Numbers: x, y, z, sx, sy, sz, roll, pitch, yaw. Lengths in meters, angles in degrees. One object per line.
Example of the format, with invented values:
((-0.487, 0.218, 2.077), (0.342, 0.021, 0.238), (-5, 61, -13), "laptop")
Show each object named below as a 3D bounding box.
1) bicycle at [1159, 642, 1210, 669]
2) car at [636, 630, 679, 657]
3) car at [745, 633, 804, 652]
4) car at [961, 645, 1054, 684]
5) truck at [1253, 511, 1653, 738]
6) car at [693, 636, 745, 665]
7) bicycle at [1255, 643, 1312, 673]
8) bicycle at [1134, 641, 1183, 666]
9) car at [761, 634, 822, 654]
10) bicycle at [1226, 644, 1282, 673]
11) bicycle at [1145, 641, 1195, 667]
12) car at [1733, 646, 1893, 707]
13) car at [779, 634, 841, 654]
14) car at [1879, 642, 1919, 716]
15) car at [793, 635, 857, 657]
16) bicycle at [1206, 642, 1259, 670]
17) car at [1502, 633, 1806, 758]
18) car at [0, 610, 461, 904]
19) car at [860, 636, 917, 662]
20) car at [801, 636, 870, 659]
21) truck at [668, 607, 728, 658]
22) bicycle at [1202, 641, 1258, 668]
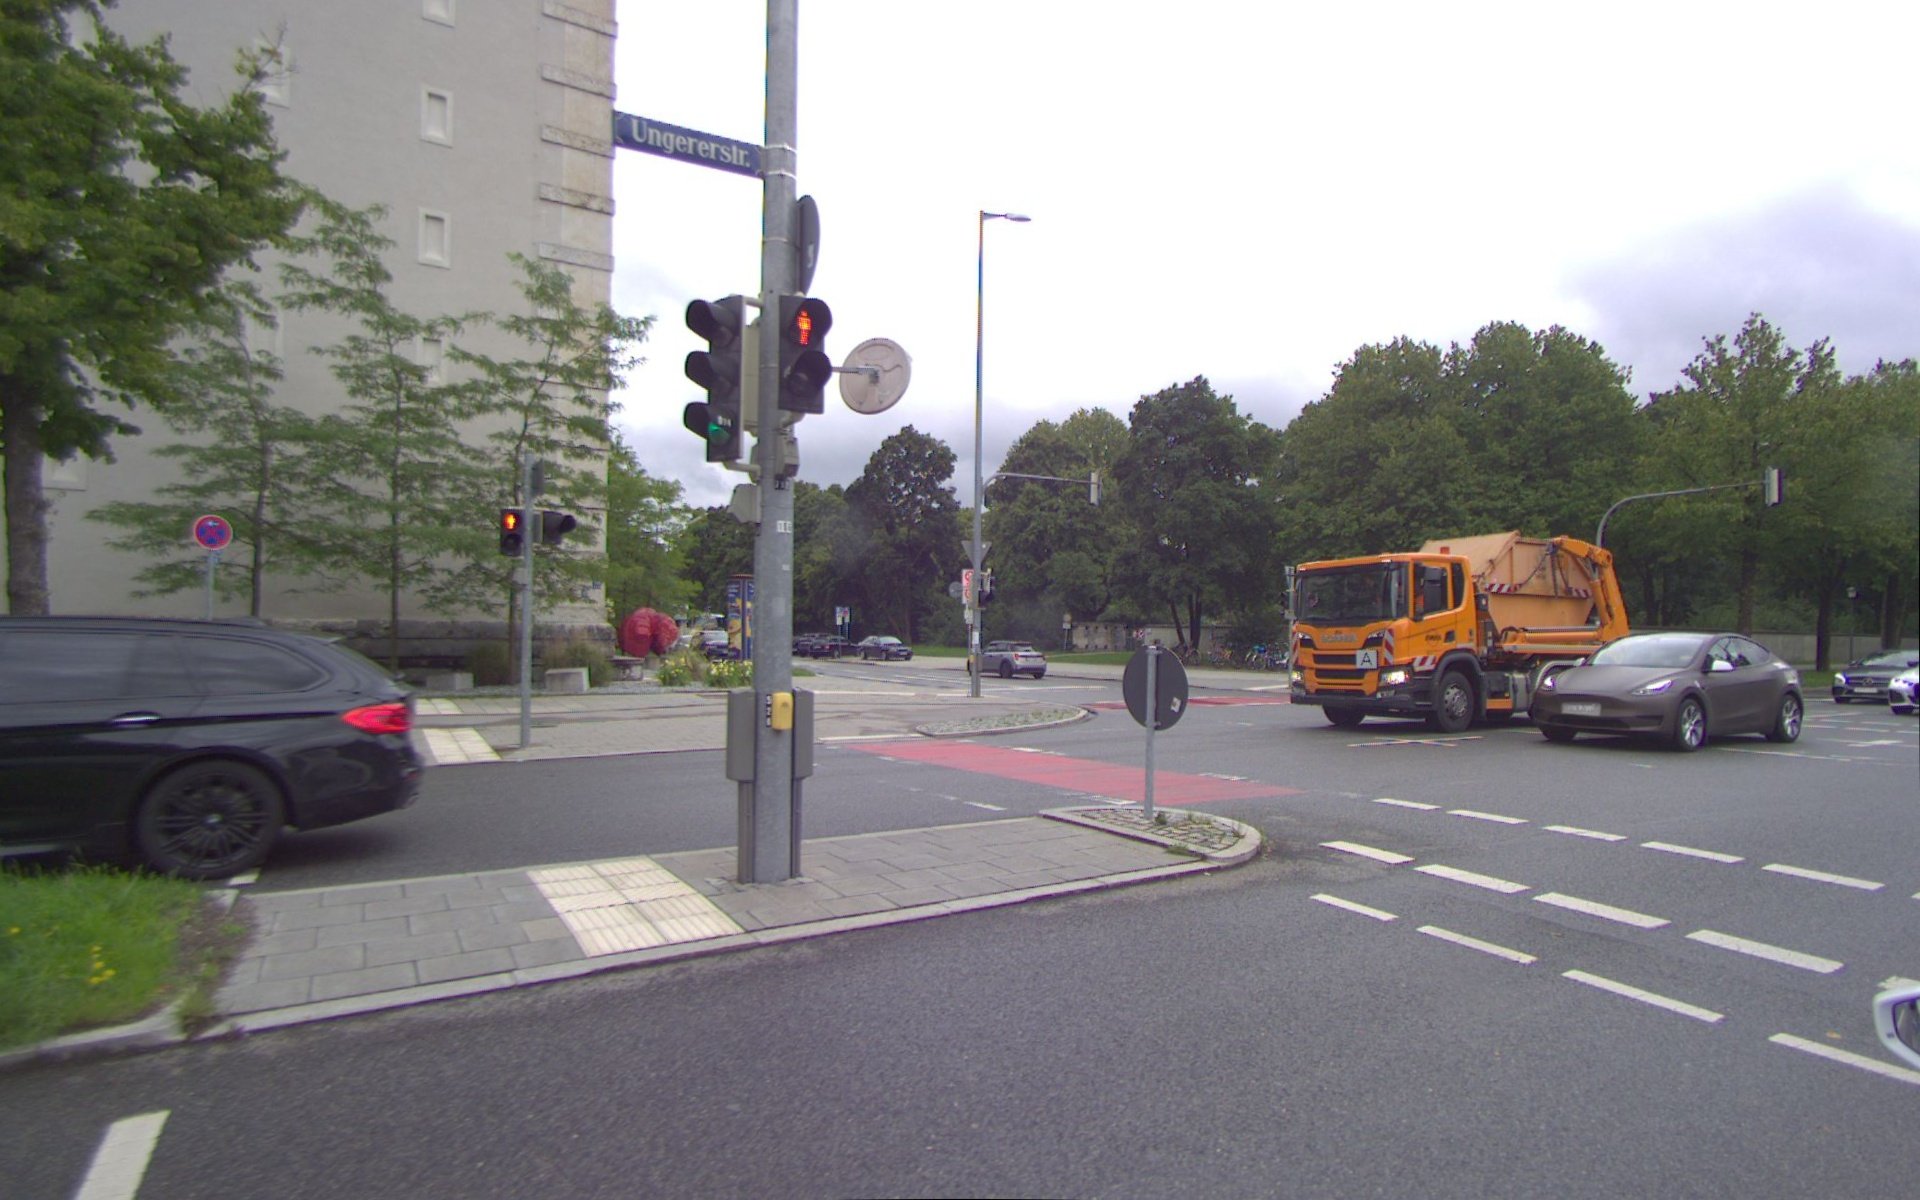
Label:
((10.471, 2.569, 46.781), (2.468, 1.201, 0.831), (2, -2, -32), "bicycle")
((-19.289, 2.734, 63.931), (1.974, 1.595, 3.974), (2, -2, -26), "car")
((-14.226, 3.261, 77.164), (1.900, 1.435, 4.190), (-1, -2, 44), "car")
((1.859, 2.592, 40.481), (1.907, 1.481, 4.337), (1, -4, -26), "car")
((8.915, 0.489, 17.957), (7.176, 3.400, 2.769), (2, -1, -28), "truck")
((-13.233, 2.746, 54.979), (1.902, 1.435, 4.187), (1, -2, -26), "car")
((13.350, 2.378, 41.453), (2.468, 1.201, 0.831), (2, -2, -32), "bicycle")
((9.653, 2.597, 48.819), (2.468, 1.201, 0.831), (2, -2, -32), "bicycle")
((-12.555, 3.285, 74.912), (1.900, 1.435, 4.190), (-1, -2, 44), "car")
((12.416, 2.456, 42.418), (2.468, 1.201, 0.831), (2, -2, -32), "bicycle")
((10.012, 2.560, 47.828), (2.468, 1.201, 0.831), (2, -2, -32), "bicycle")
((21.379, 1.878, 25.159), (4.165, 1.434, 1.716), (2, -3, -30), "car")
((-10.892, 3.180, 73.147), (1.900, 1.435, 4.190), (-1, -2, 44), "car")
((21.874, 1.695, 21.651), (4.686, 1.506, 1.719), (2, -2, -30), "car")
((-9.378, 3.194, 70.096), (1.900, 1.435, 4.190), (-1, -2, 44), "car")
((12.196, 2.481, 44.914), (2.468, 1.201, 0.831), (2, -2, -32), "bicycle")
((10.171, 1.293, 14.641), (4.694, 1.562, 1.853), (2, -2, -30), "car")
((-5.630, 0.831, 5.720), (4.843, 1.481, 1.917), (2, -4, -32), "car")
((-4.297, 2.919, 59.827), (1.822, 1.435, 4.183), (2, -2, -29), "car")
((-8.137, 3.129, 66.056), (4.184, 1.435, 1.903), (2, -2, -42), "car")
((-19.178, 2.330, 73.236), (2.736, 3.534, 7.773), (1, -2, -26), "truck")
((12.692, 2.549, 47.132), (2.852, 1.201, 0.831), (2, -2, -32), "bicycle")
